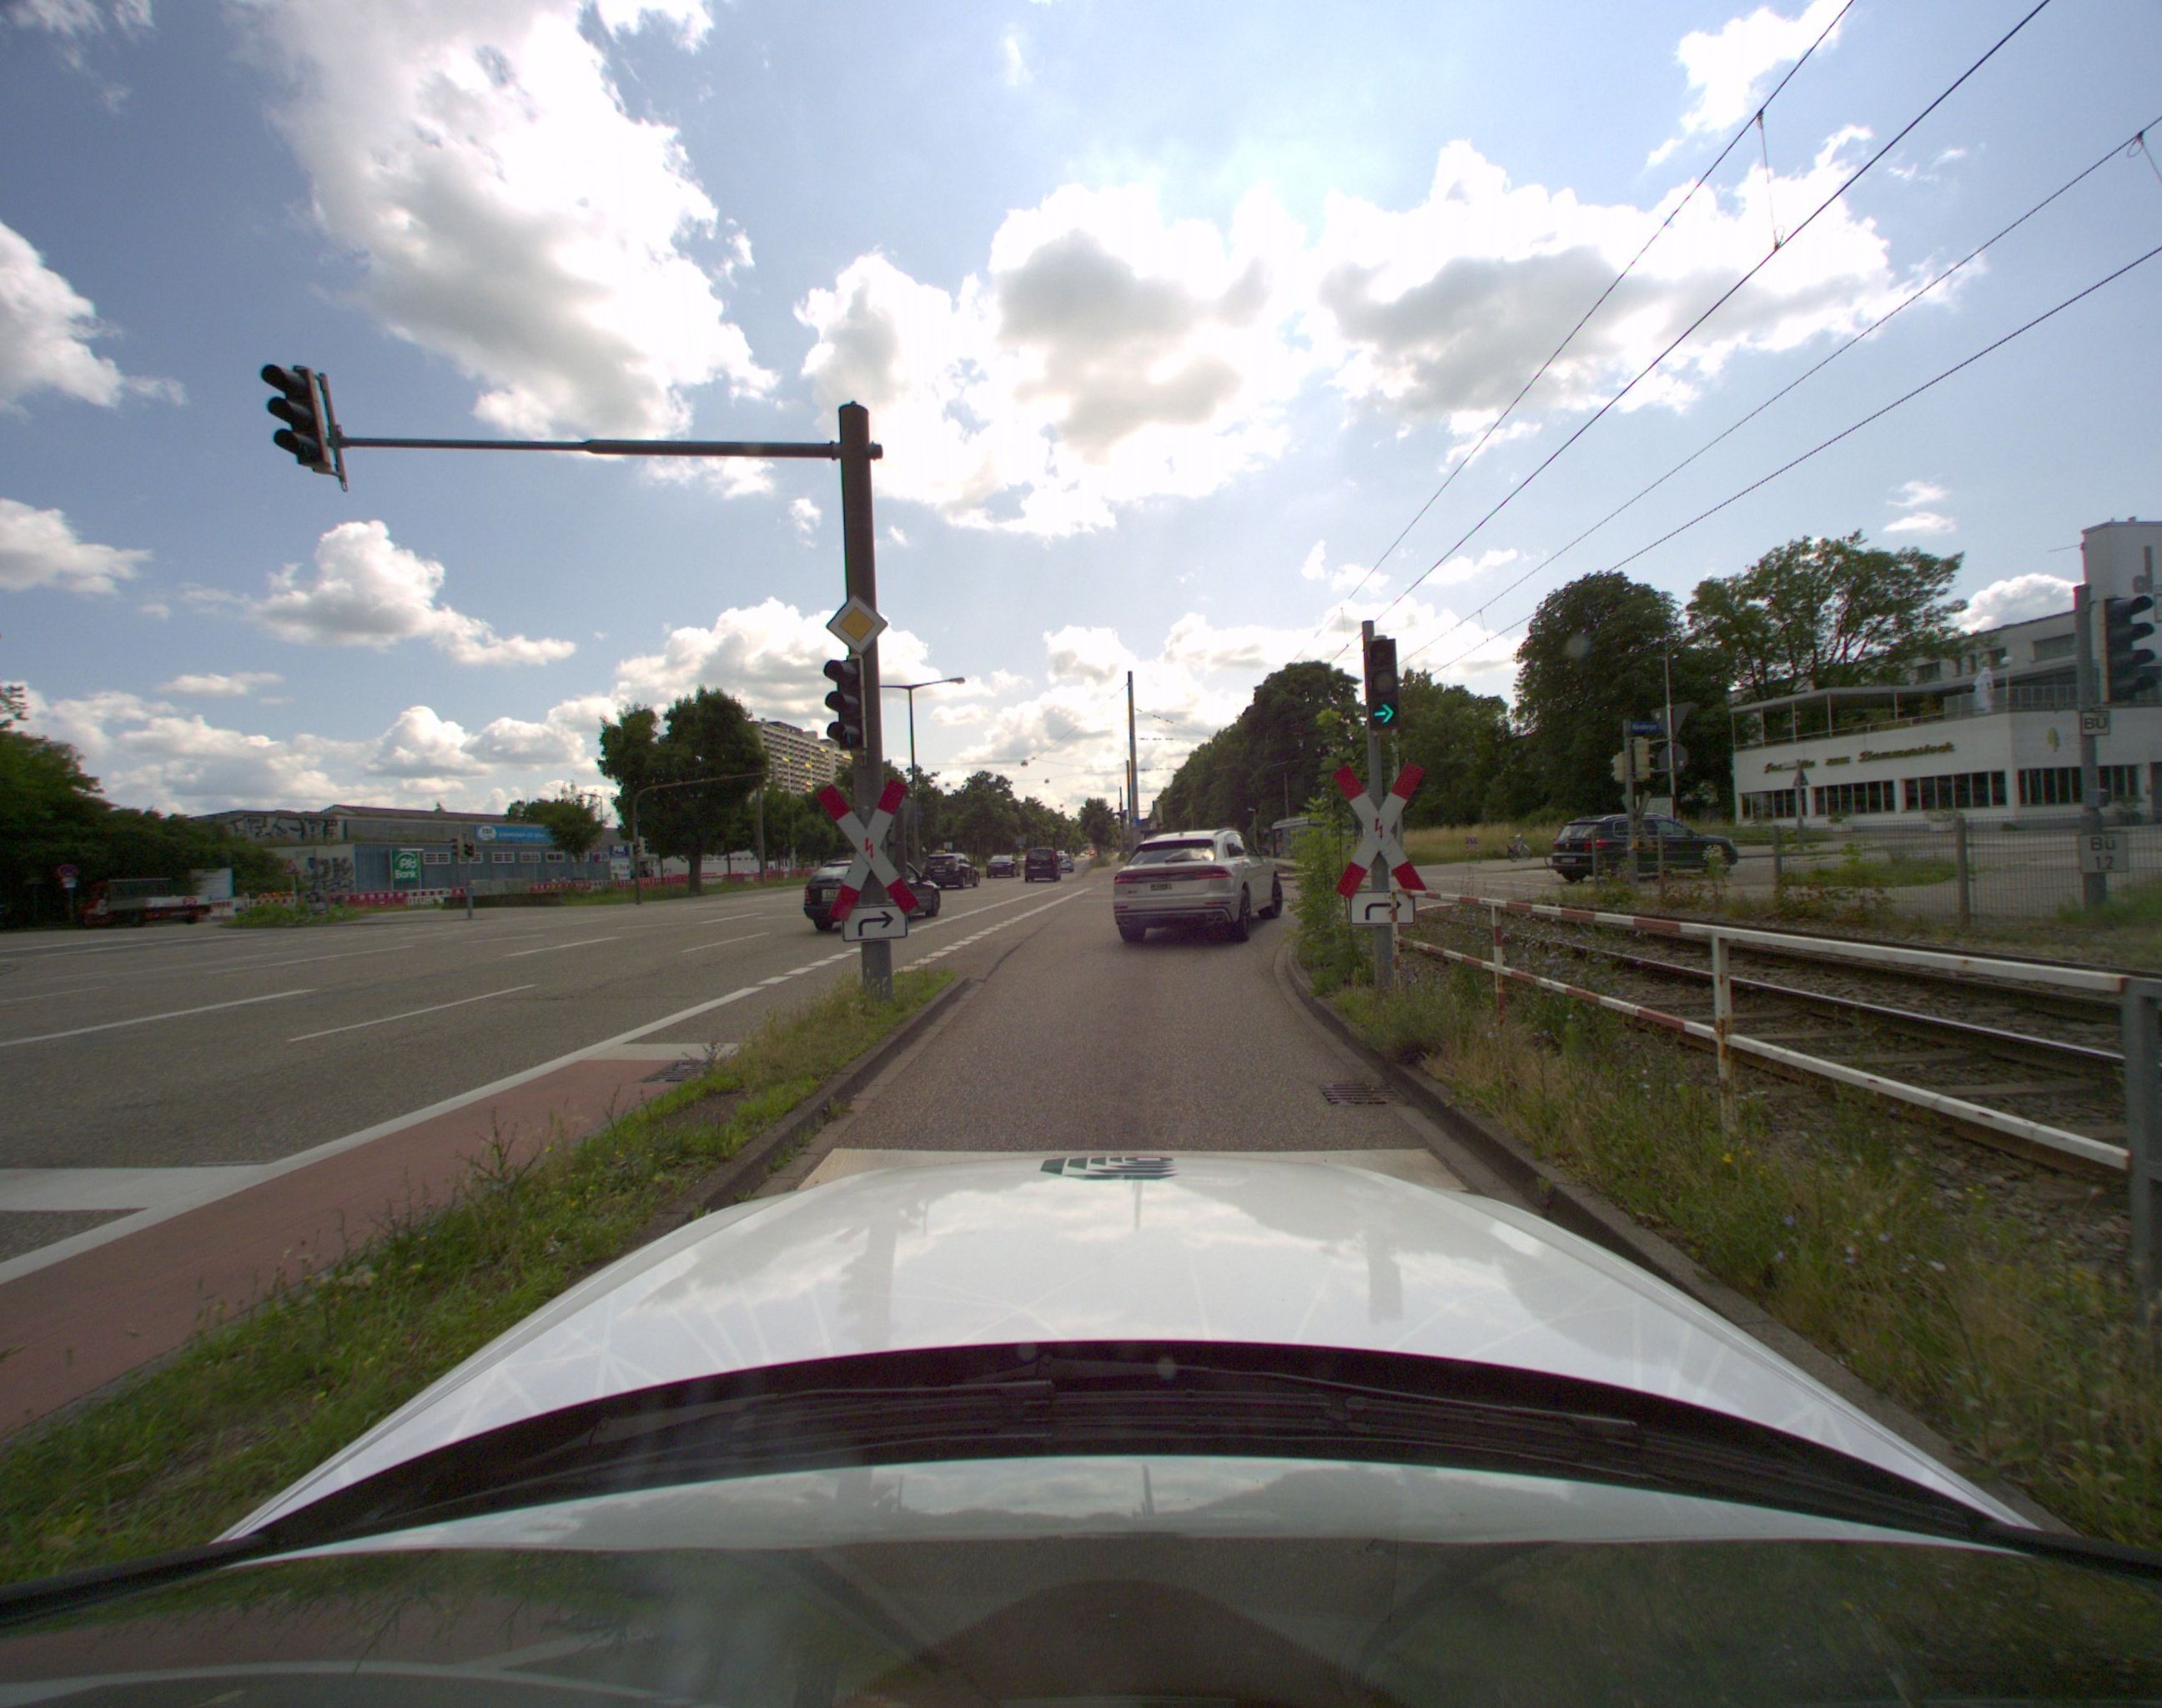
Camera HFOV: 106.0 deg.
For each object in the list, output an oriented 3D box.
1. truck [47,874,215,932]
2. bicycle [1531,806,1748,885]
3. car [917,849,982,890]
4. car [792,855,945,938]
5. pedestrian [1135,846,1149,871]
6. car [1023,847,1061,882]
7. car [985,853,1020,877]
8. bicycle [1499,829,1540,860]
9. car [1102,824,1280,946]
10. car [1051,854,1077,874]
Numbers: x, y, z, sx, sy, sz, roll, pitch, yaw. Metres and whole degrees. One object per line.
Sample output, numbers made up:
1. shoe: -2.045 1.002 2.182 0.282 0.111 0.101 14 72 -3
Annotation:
1. truck: -46.266 2.359 39.685 6.904 2.439 3.055 -3 0 21
2. bicycle: 13.900 -0.215 20.405 4.192 1.675 1.995 -3 0 -8
3. car: -5.758 0.662 36.206 1.777 1.668 4.347 -2 0 5
4. car: -4.393 0.799 17.603 1.746 1.466 4.439 -3 0 5
5. pedestrian: 3.728 0.265 49.842 0.653 1.513 0.717 -3 0 -6
6. car: -2.110 0.557 45.127 1.753 1.777 3.910 -2 0 2
7. car: -5.174 0.723 54.014 1.857 1.504 4.001 -2 0 1
8. bicycle: 18.020 -0.386 33.488 1.667 1.132 0.694 -5 1 -32
9. car: 2.063 0.424 13.823 1.965 1.684 4.598 -3 0 20
10. car: -1.327 0.781 64.823 1.778 1.525 4.304 -2 0 2
